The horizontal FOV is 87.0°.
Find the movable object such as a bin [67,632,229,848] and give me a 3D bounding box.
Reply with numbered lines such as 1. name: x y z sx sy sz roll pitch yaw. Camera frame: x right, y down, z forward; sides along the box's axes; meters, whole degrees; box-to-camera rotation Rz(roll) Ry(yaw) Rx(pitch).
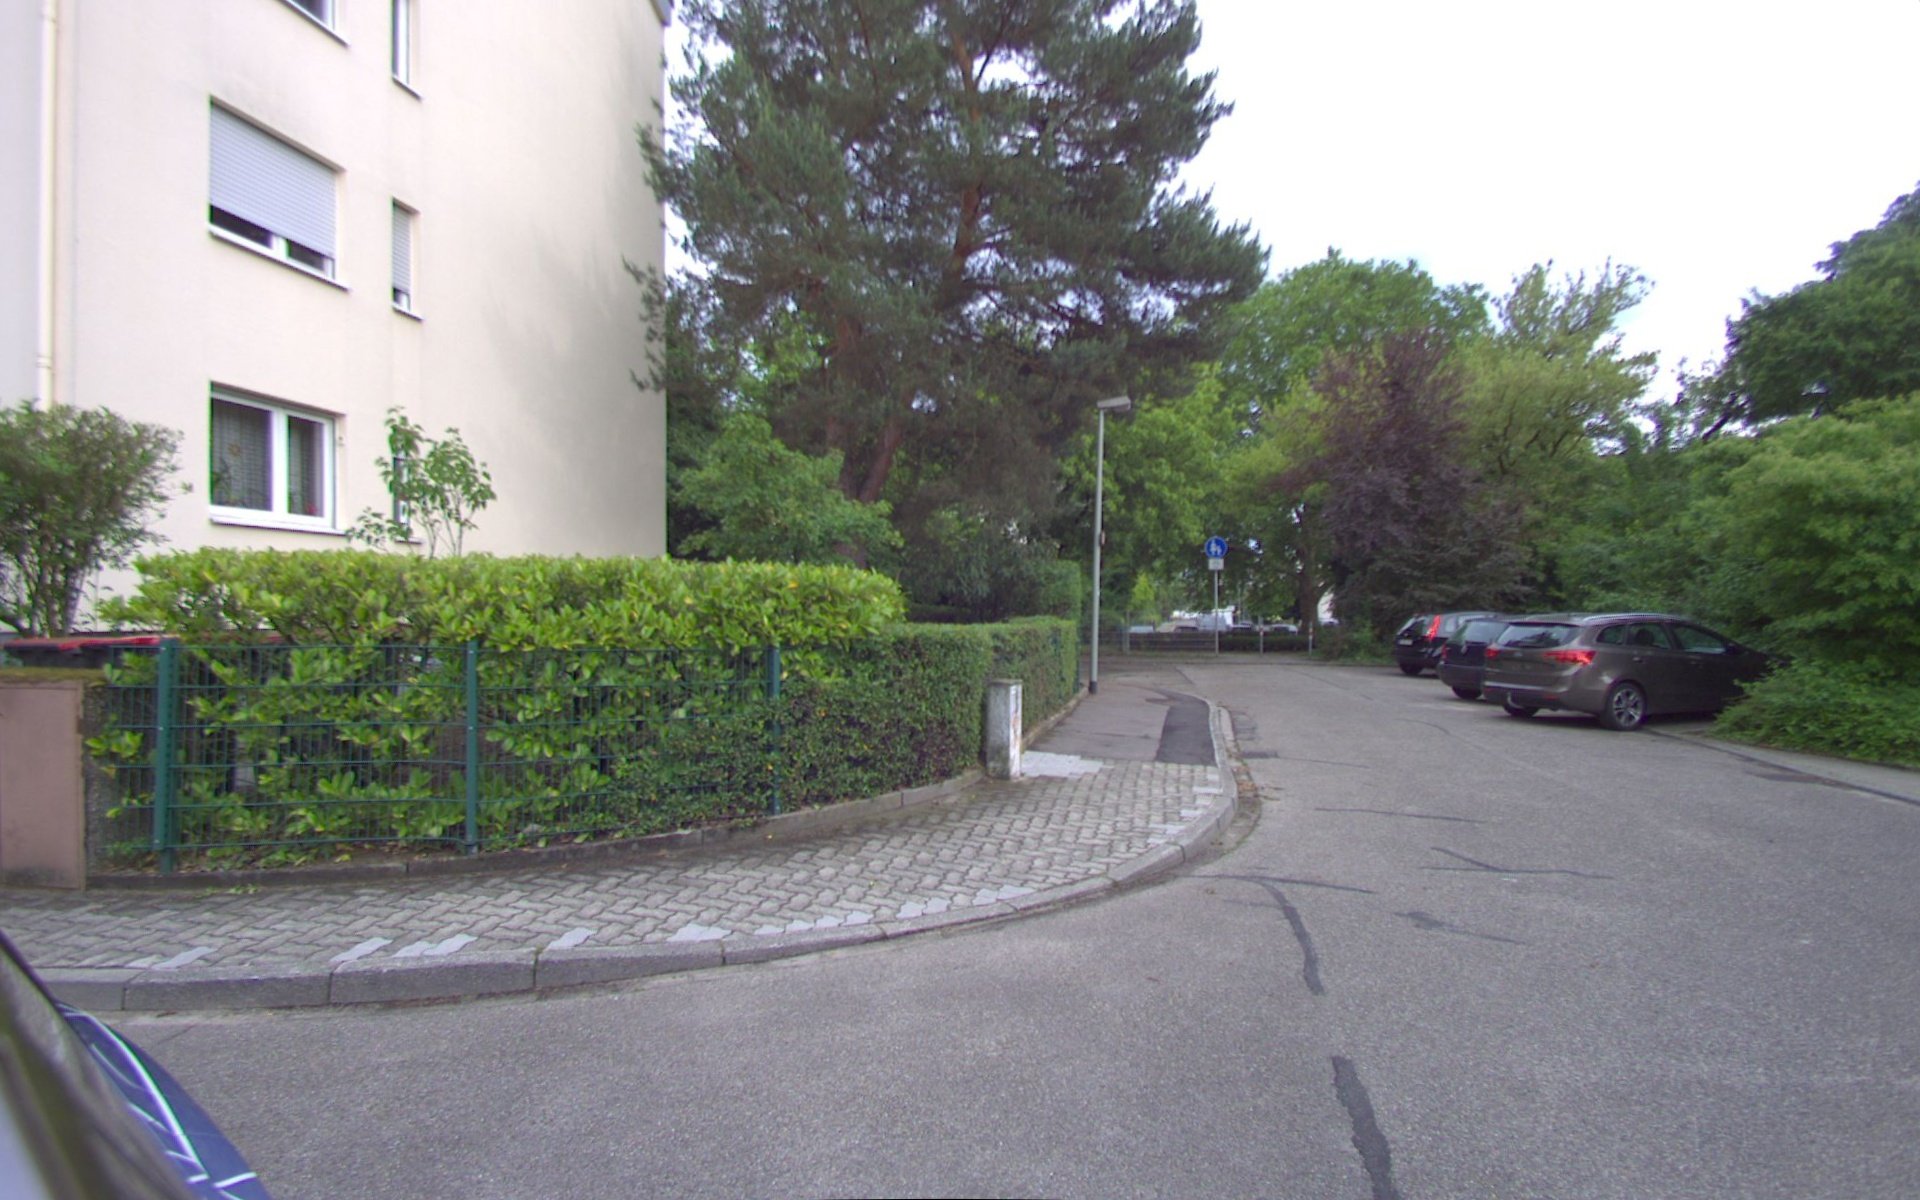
1. movable object such as a bin: -4.720 0.785 5.904 0.509 1.197 0.505 0 -2 9

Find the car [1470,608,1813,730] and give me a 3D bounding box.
1. car: 9.277 0.865 13.867 3.932 1.502 1.706 0 -1 -15

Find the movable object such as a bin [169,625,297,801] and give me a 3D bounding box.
1. movable object such as a bin: -5.158 0.779 7.199 0.509 1.197 0.505 0 -2 9

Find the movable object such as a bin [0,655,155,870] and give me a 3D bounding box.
1. movable object such as a bin: -5.251 0.933 6.005 0.509 1.197 0.505 0 -2 9

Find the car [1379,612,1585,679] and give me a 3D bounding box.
1. car: 11.574 0.972 22.506 3.932 1.385 1.706 0 -1 -15

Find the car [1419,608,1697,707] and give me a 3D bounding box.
1. car: 9.957 0.899 16.918 3.932 1.502 1.706 0 -1 -15
